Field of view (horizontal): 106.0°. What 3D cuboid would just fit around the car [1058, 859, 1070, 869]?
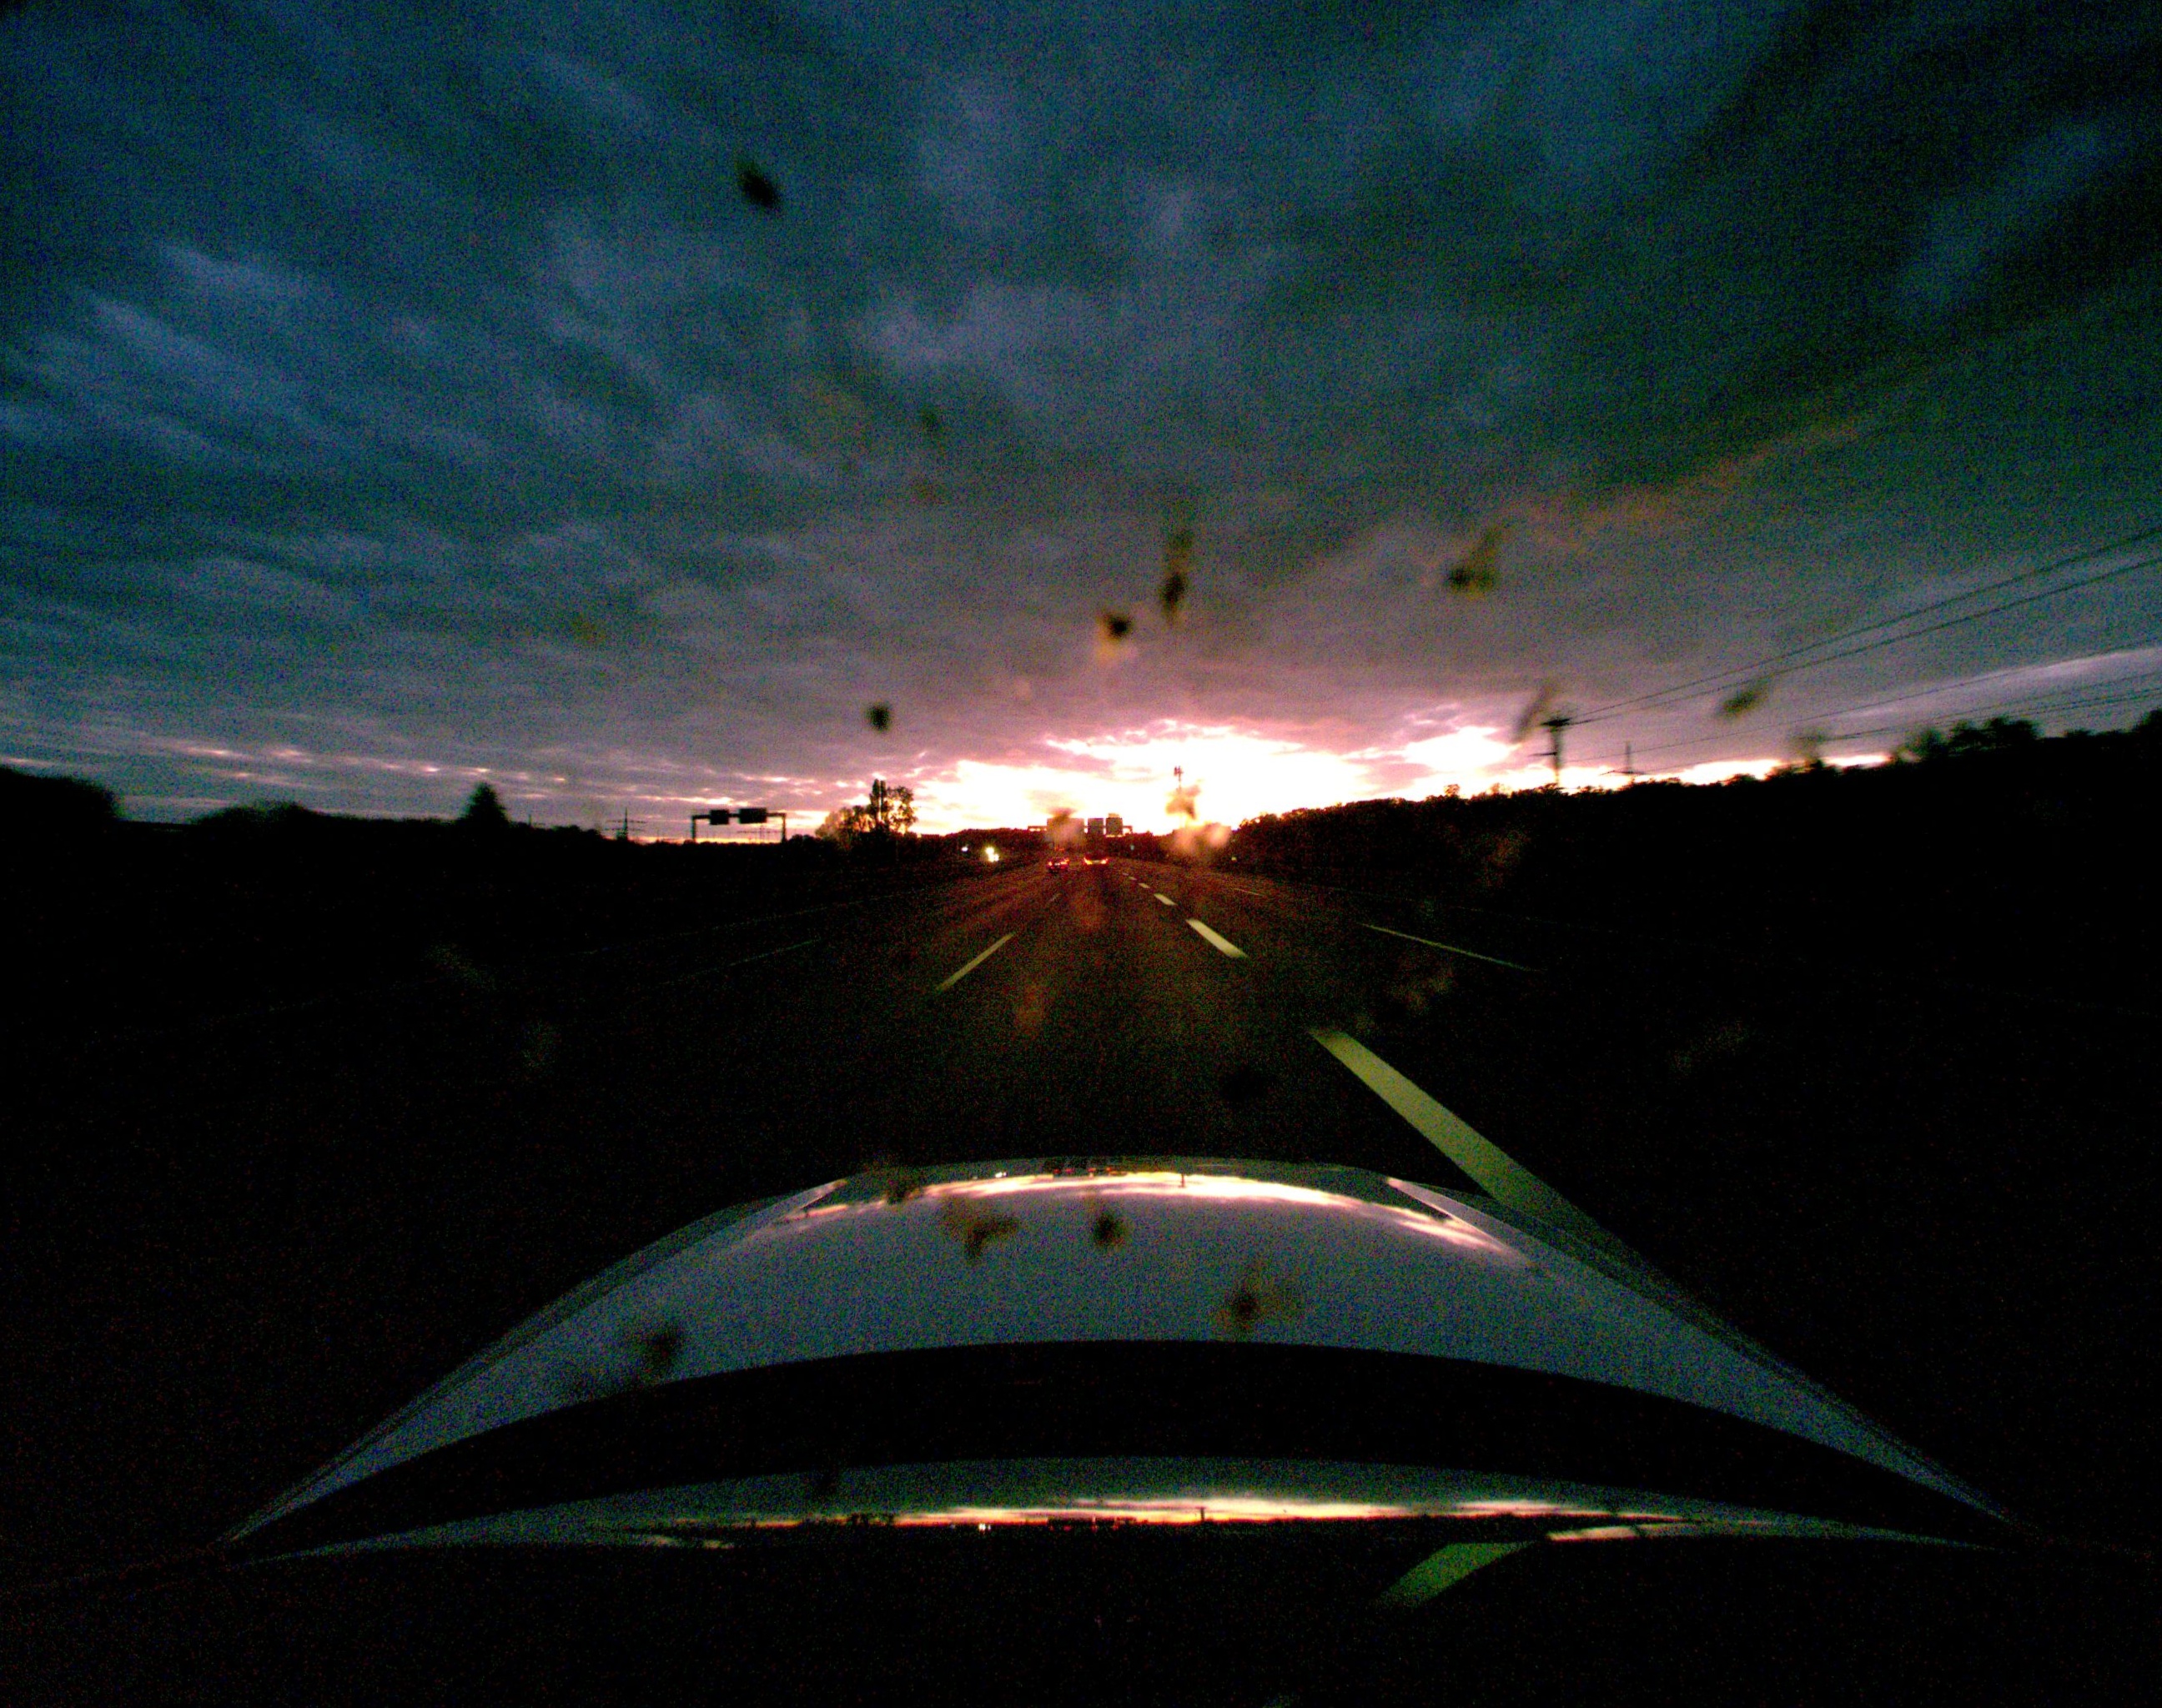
[{"bbox_3d":[-2.490,1.527,120.851,1.684,1.401,3.408,-3,-1,1],"label":"car"}]

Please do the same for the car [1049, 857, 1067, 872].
[{"bbox_3d":[-2.302,1.018,80.904,1.685,1.401,3.406,-2,-1,-2],"label":"car"}]

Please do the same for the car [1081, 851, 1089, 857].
[{"bbox_3d":[1.278,0.081,244.915,1.990,1.717,3.993,-2,-1,-4],"label":"car"}]

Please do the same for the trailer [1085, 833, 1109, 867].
[{"bbox_3d":[1.941,-0.560,102.757,2.713,4.071,8.831,-2,1,0],"label":"trailer"}]
